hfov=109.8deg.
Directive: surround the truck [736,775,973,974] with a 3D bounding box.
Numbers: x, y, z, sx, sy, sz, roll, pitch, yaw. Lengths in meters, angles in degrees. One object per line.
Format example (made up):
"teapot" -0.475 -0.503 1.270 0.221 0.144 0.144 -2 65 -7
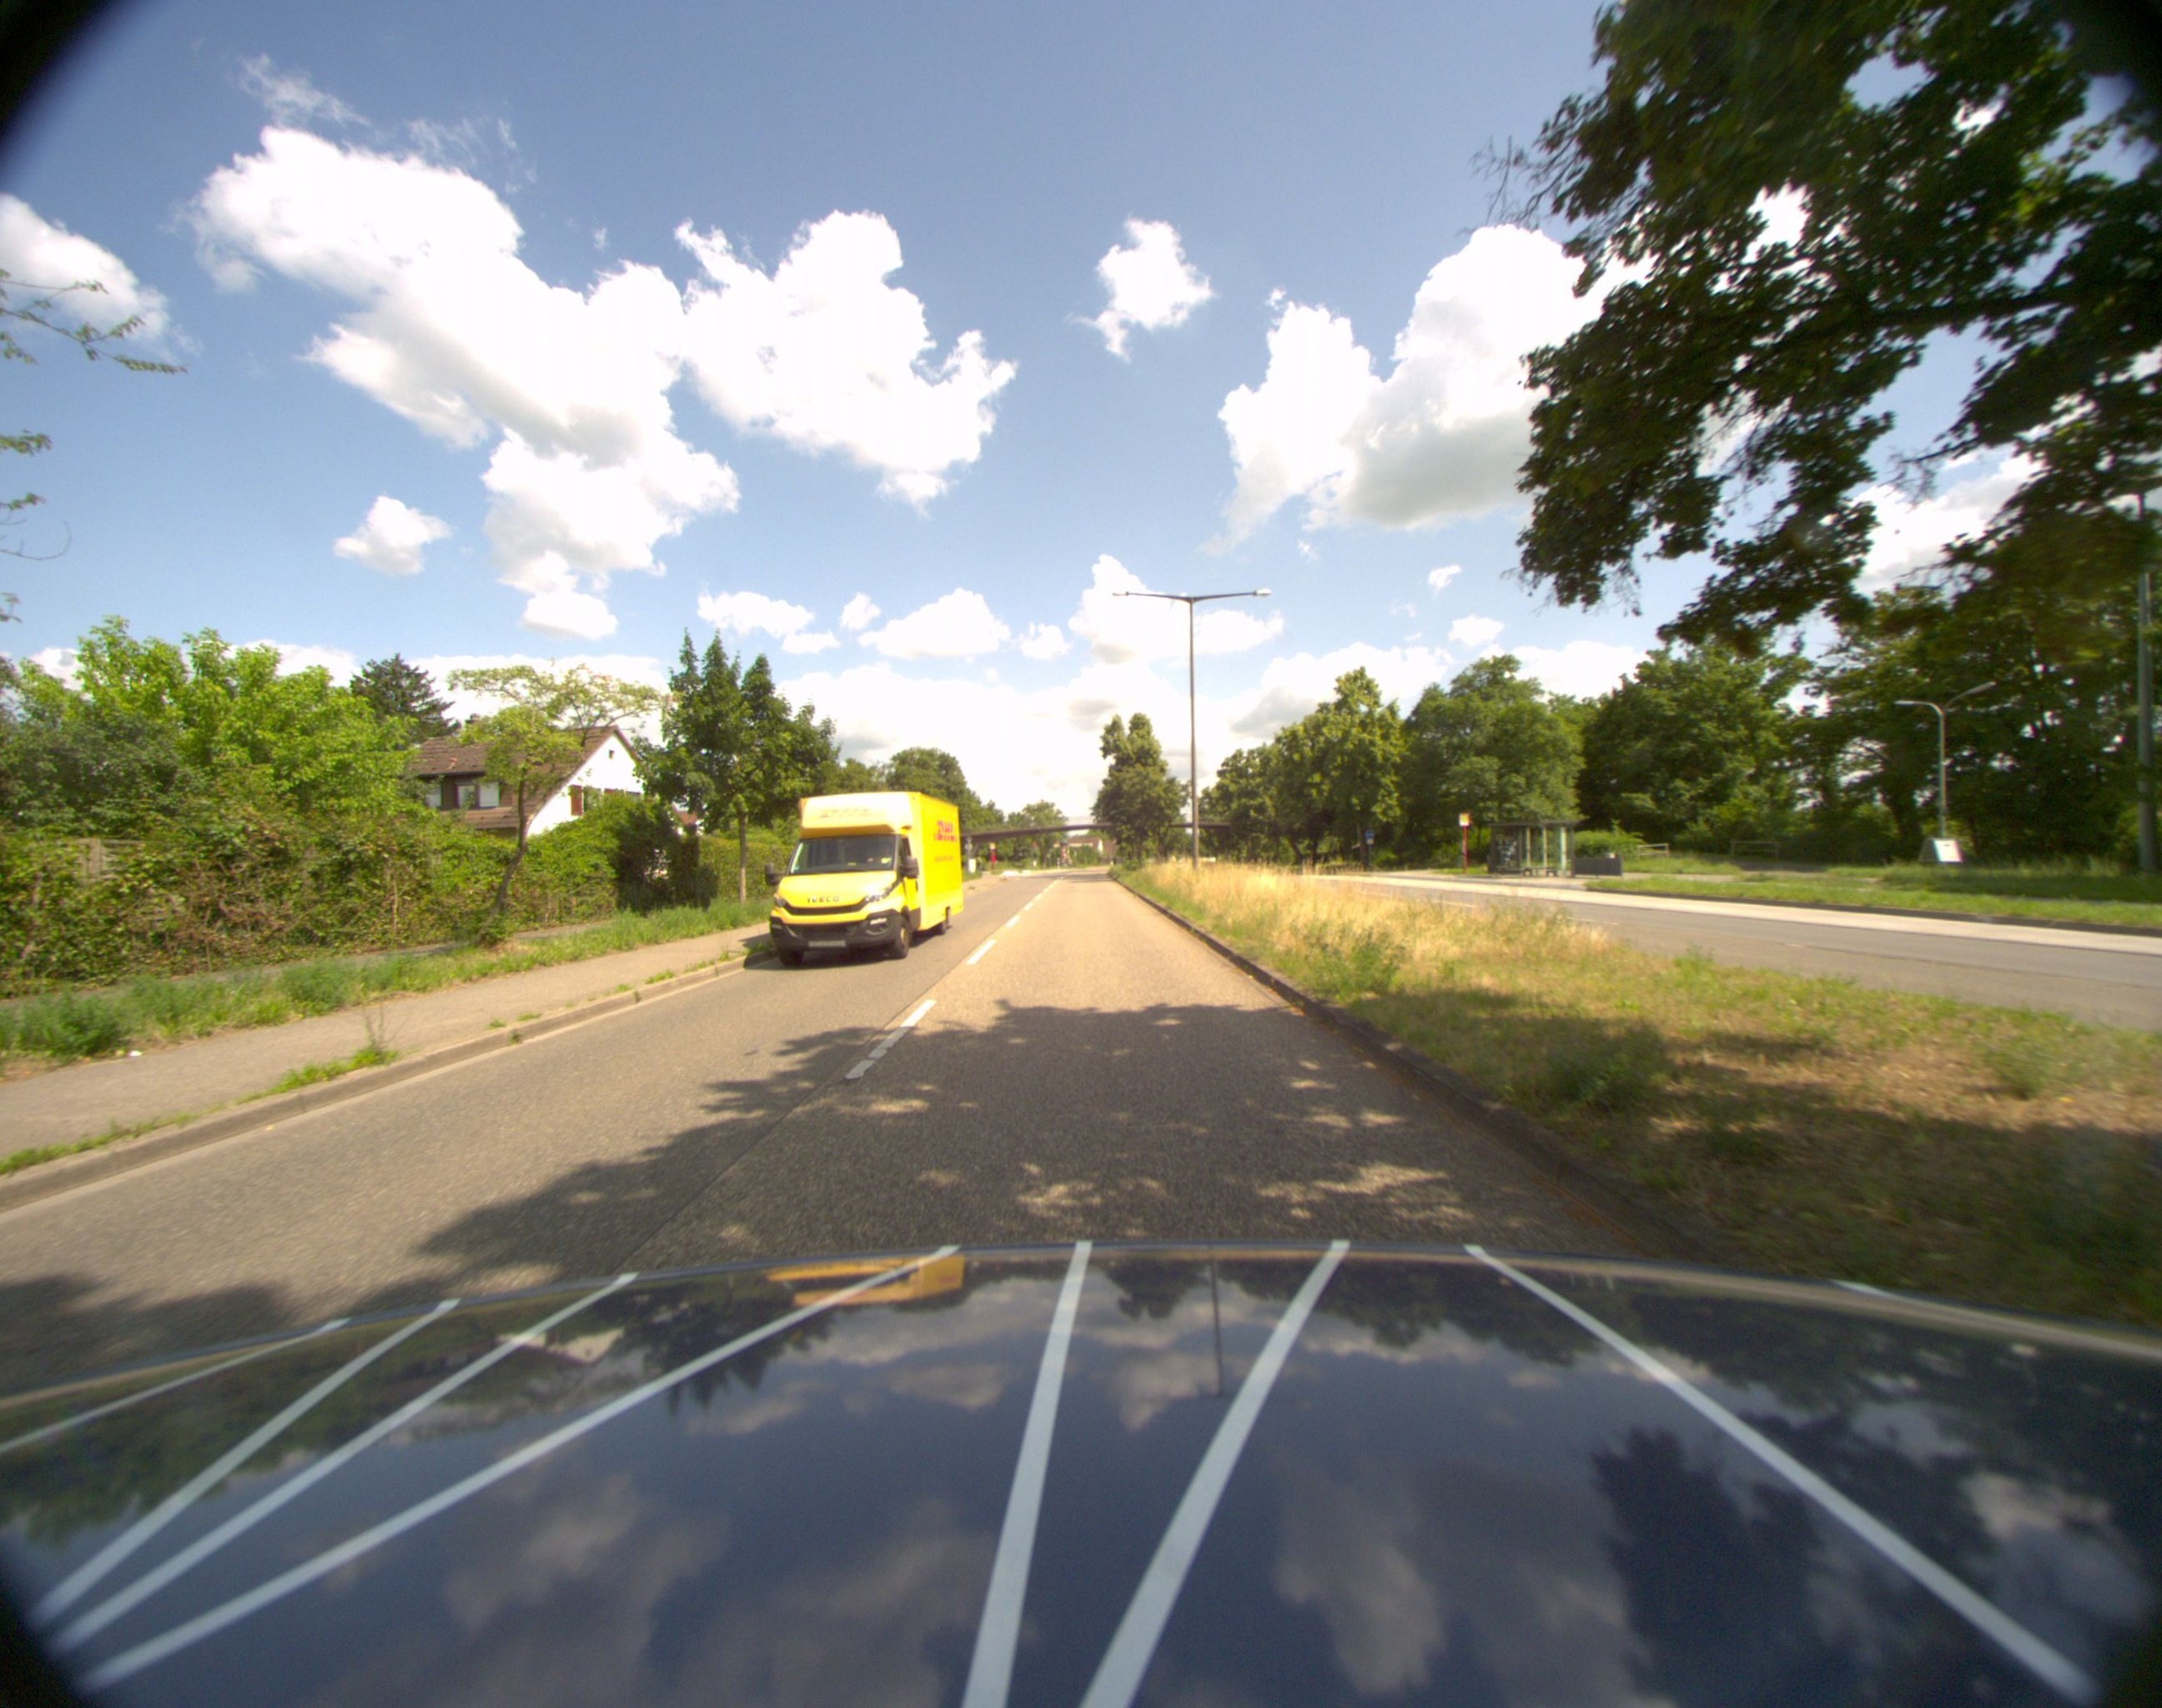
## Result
"truck" -3.936 0.350 15.327 2.270 2.863 8.028 -3 -1 0
